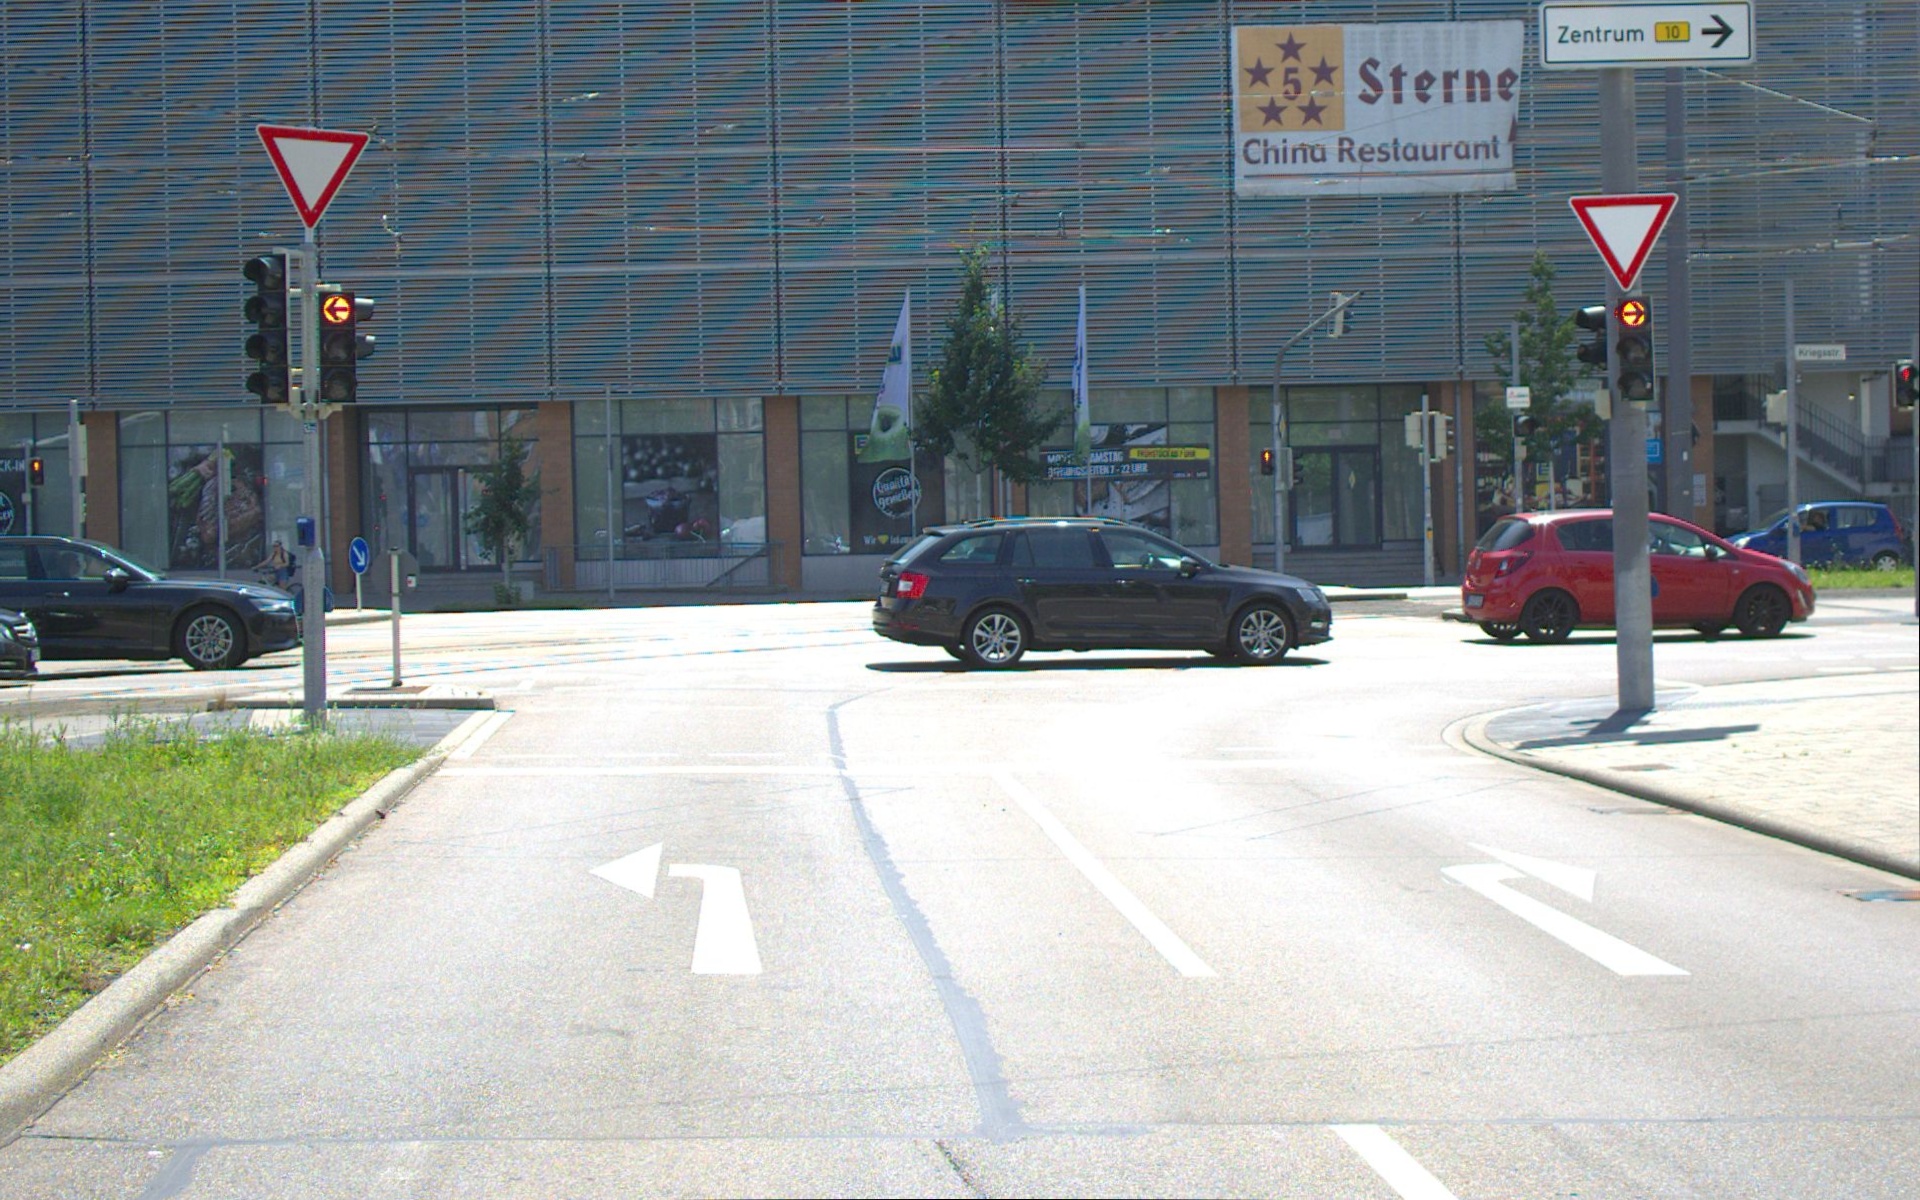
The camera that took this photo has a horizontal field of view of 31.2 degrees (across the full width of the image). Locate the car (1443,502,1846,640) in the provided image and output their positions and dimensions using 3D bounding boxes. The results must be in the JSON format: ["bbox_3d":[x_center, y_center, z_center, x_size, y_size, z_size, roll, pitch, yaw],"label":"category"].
[{"bbox_3d":[7.724,-0.347,39.012,4.125,1.503,1.843,0,2,-6],"label":"car"}]

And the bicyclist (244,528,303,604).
[{"bbox_3d":[-14.334,-0.722,71.818,1.039,1.566,0.777,0,2,4],"label":"bicyclist"}]

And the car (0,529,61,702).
[{"bbox_3d":[-10.996,0.135,32.517,4.548,1.571,2.001,0,2,-5],"label":"car"}]

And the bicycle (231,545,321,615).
[{"bbox_3d":[-14.317,-0.437,72.050,1.062,1.385,3.023,0,2,4],"label":"bicycle"}]

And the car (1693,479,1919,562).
[{"bbox_3d":[16.123,-1.521,65.130,3.986,1.533,1.882,0,2,-4],"label":"car"}]

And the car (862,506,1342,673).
[{"bbox_3d":[1.397,-0.139,34.690,4.525,1.503,1.843,-2,2,-9],"label":"car"}]

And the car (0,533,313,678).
[{"bbox_3d":[-9.329,0.043,36.243,4.764,1.455,1.888,0,2,-5],"label":"car"}]
